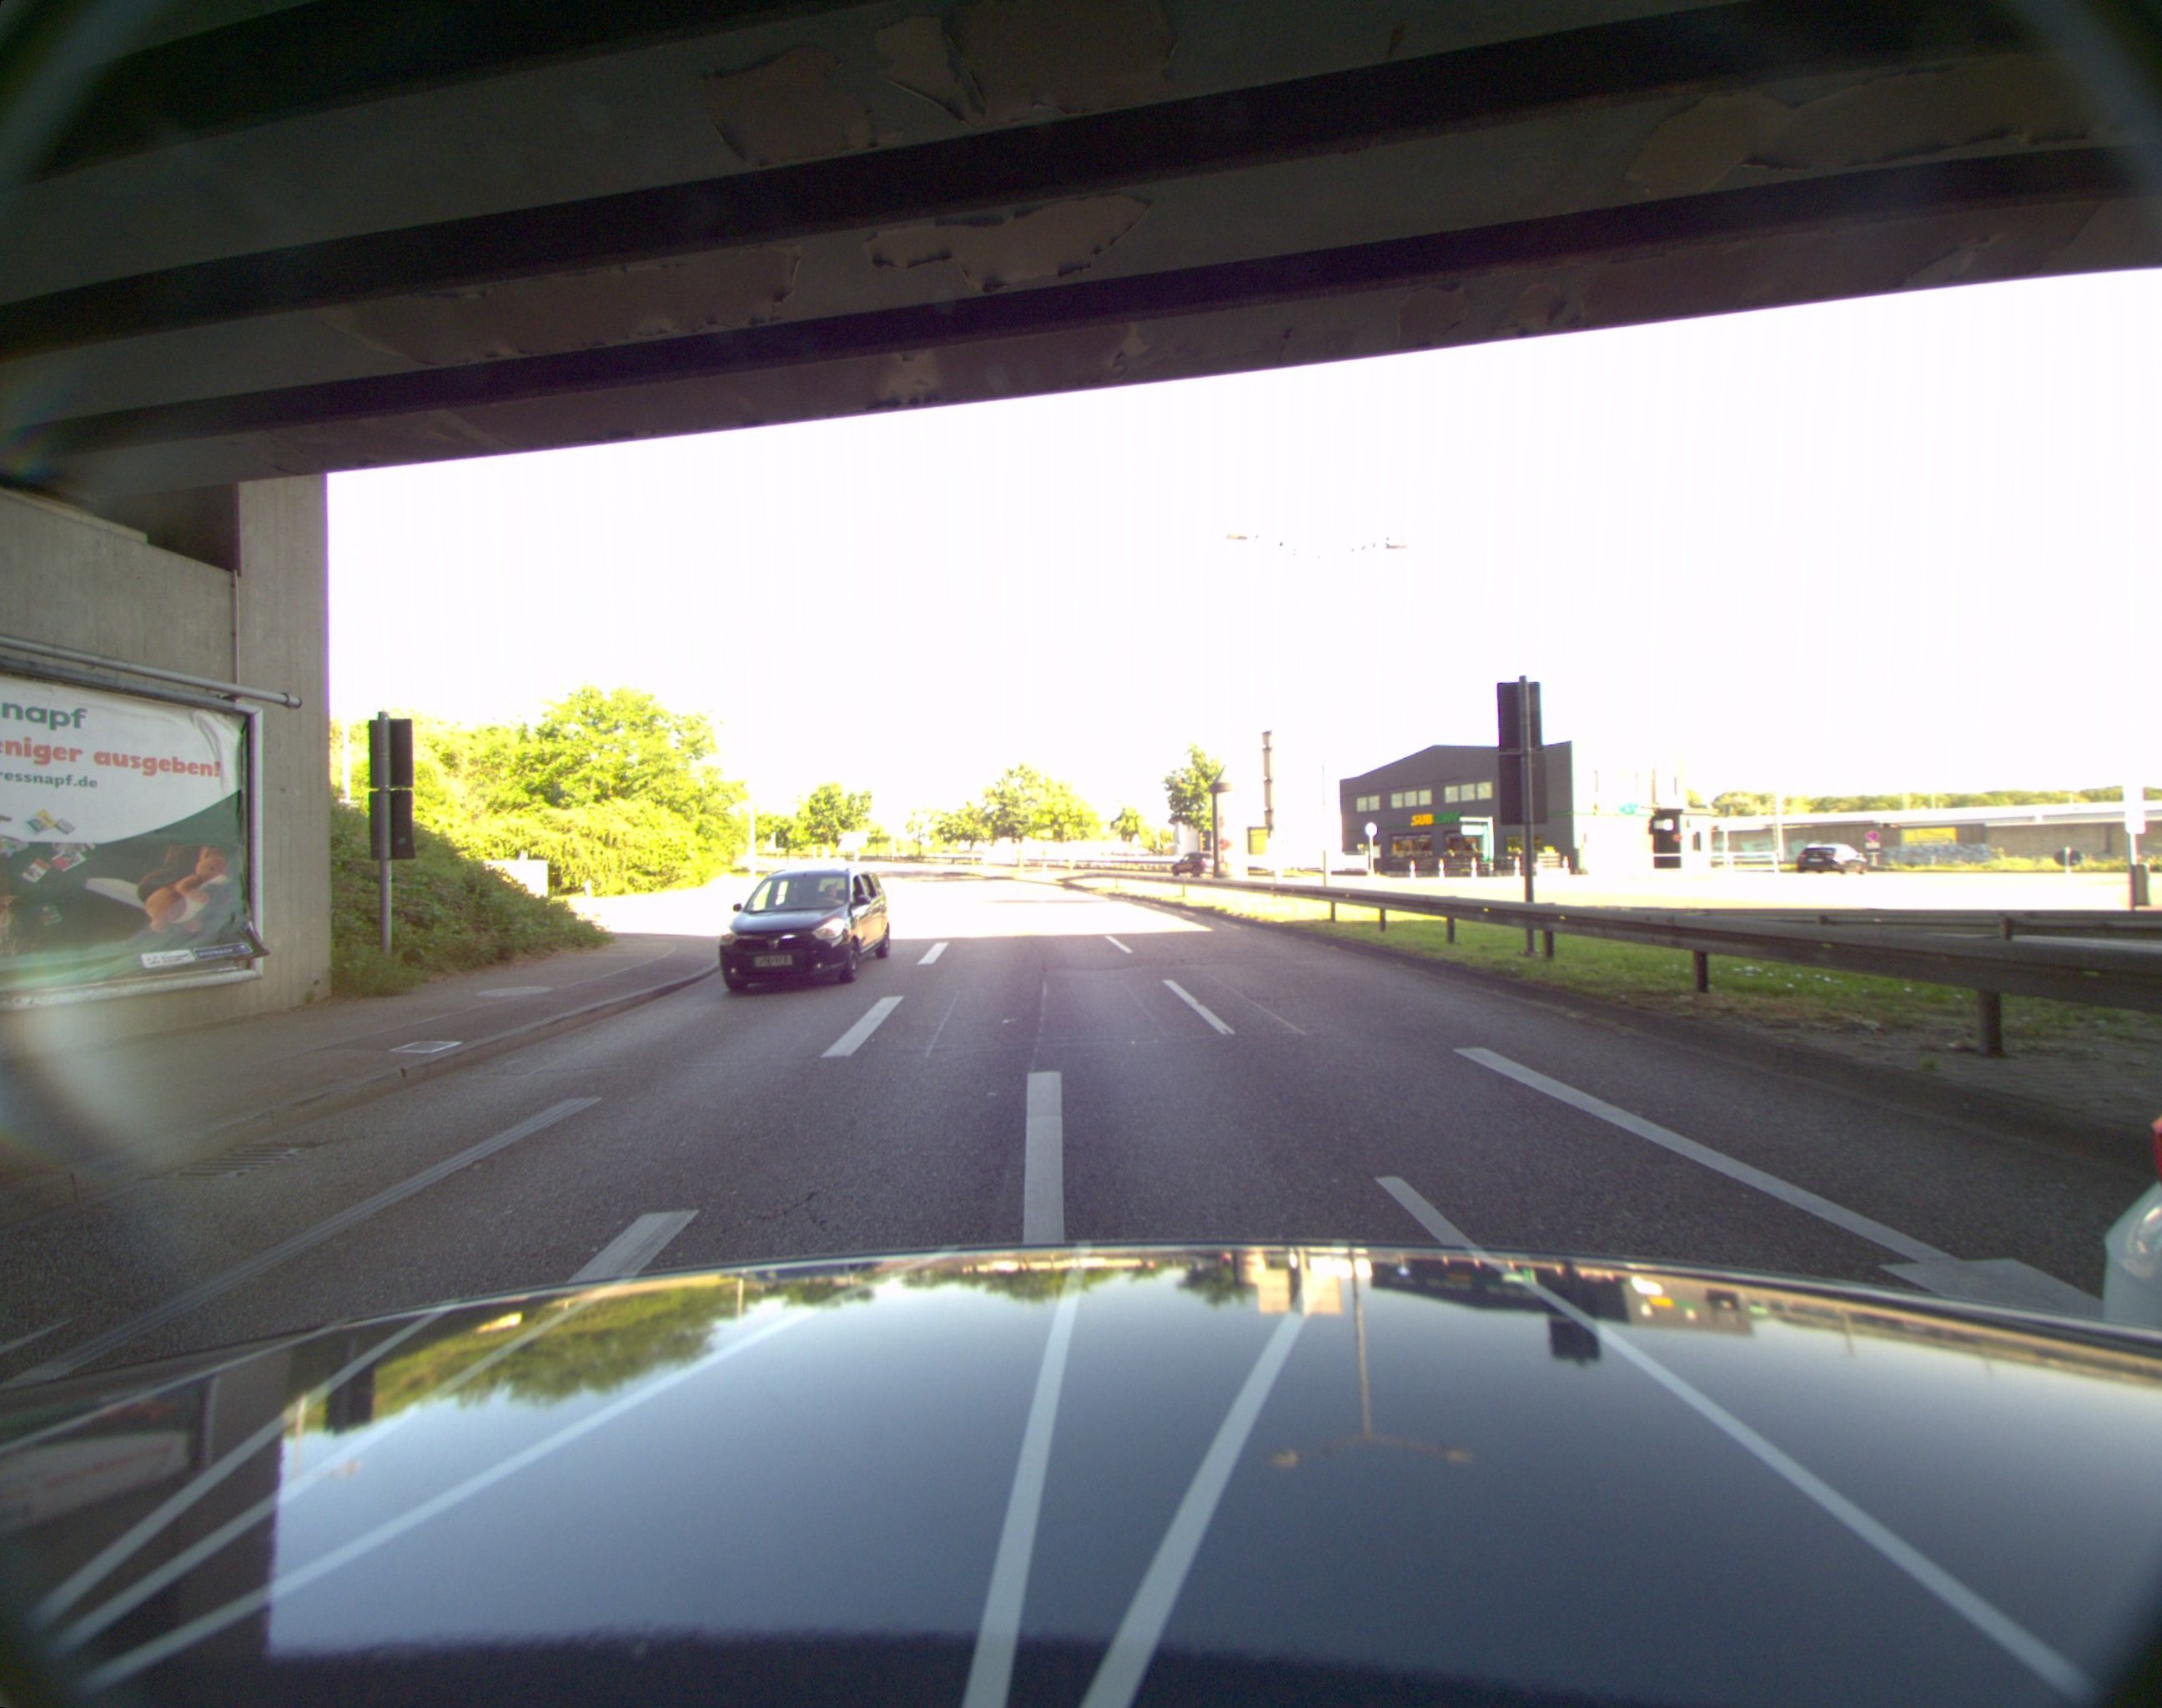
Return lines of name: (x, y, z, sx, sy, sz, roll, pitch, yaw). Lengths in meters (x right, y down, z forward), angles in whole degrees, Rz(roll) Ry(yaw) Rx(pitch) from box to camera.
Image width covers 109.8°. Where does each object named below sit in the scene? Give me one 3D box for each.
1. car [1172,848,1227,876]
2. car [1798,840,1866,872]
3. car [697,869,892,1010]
car: (7.603, 0.495, 49.264, 1.858, 1.607, 4.359, -3, 1, -15)
car: (38.454, 0.098, 38.888, 4.007, 1.434, 1.878, -3, 1, -37)
car: (-4.113, 1.107, 11.647, 1.780, 1.591, 4.102, -3, 1, -7)
